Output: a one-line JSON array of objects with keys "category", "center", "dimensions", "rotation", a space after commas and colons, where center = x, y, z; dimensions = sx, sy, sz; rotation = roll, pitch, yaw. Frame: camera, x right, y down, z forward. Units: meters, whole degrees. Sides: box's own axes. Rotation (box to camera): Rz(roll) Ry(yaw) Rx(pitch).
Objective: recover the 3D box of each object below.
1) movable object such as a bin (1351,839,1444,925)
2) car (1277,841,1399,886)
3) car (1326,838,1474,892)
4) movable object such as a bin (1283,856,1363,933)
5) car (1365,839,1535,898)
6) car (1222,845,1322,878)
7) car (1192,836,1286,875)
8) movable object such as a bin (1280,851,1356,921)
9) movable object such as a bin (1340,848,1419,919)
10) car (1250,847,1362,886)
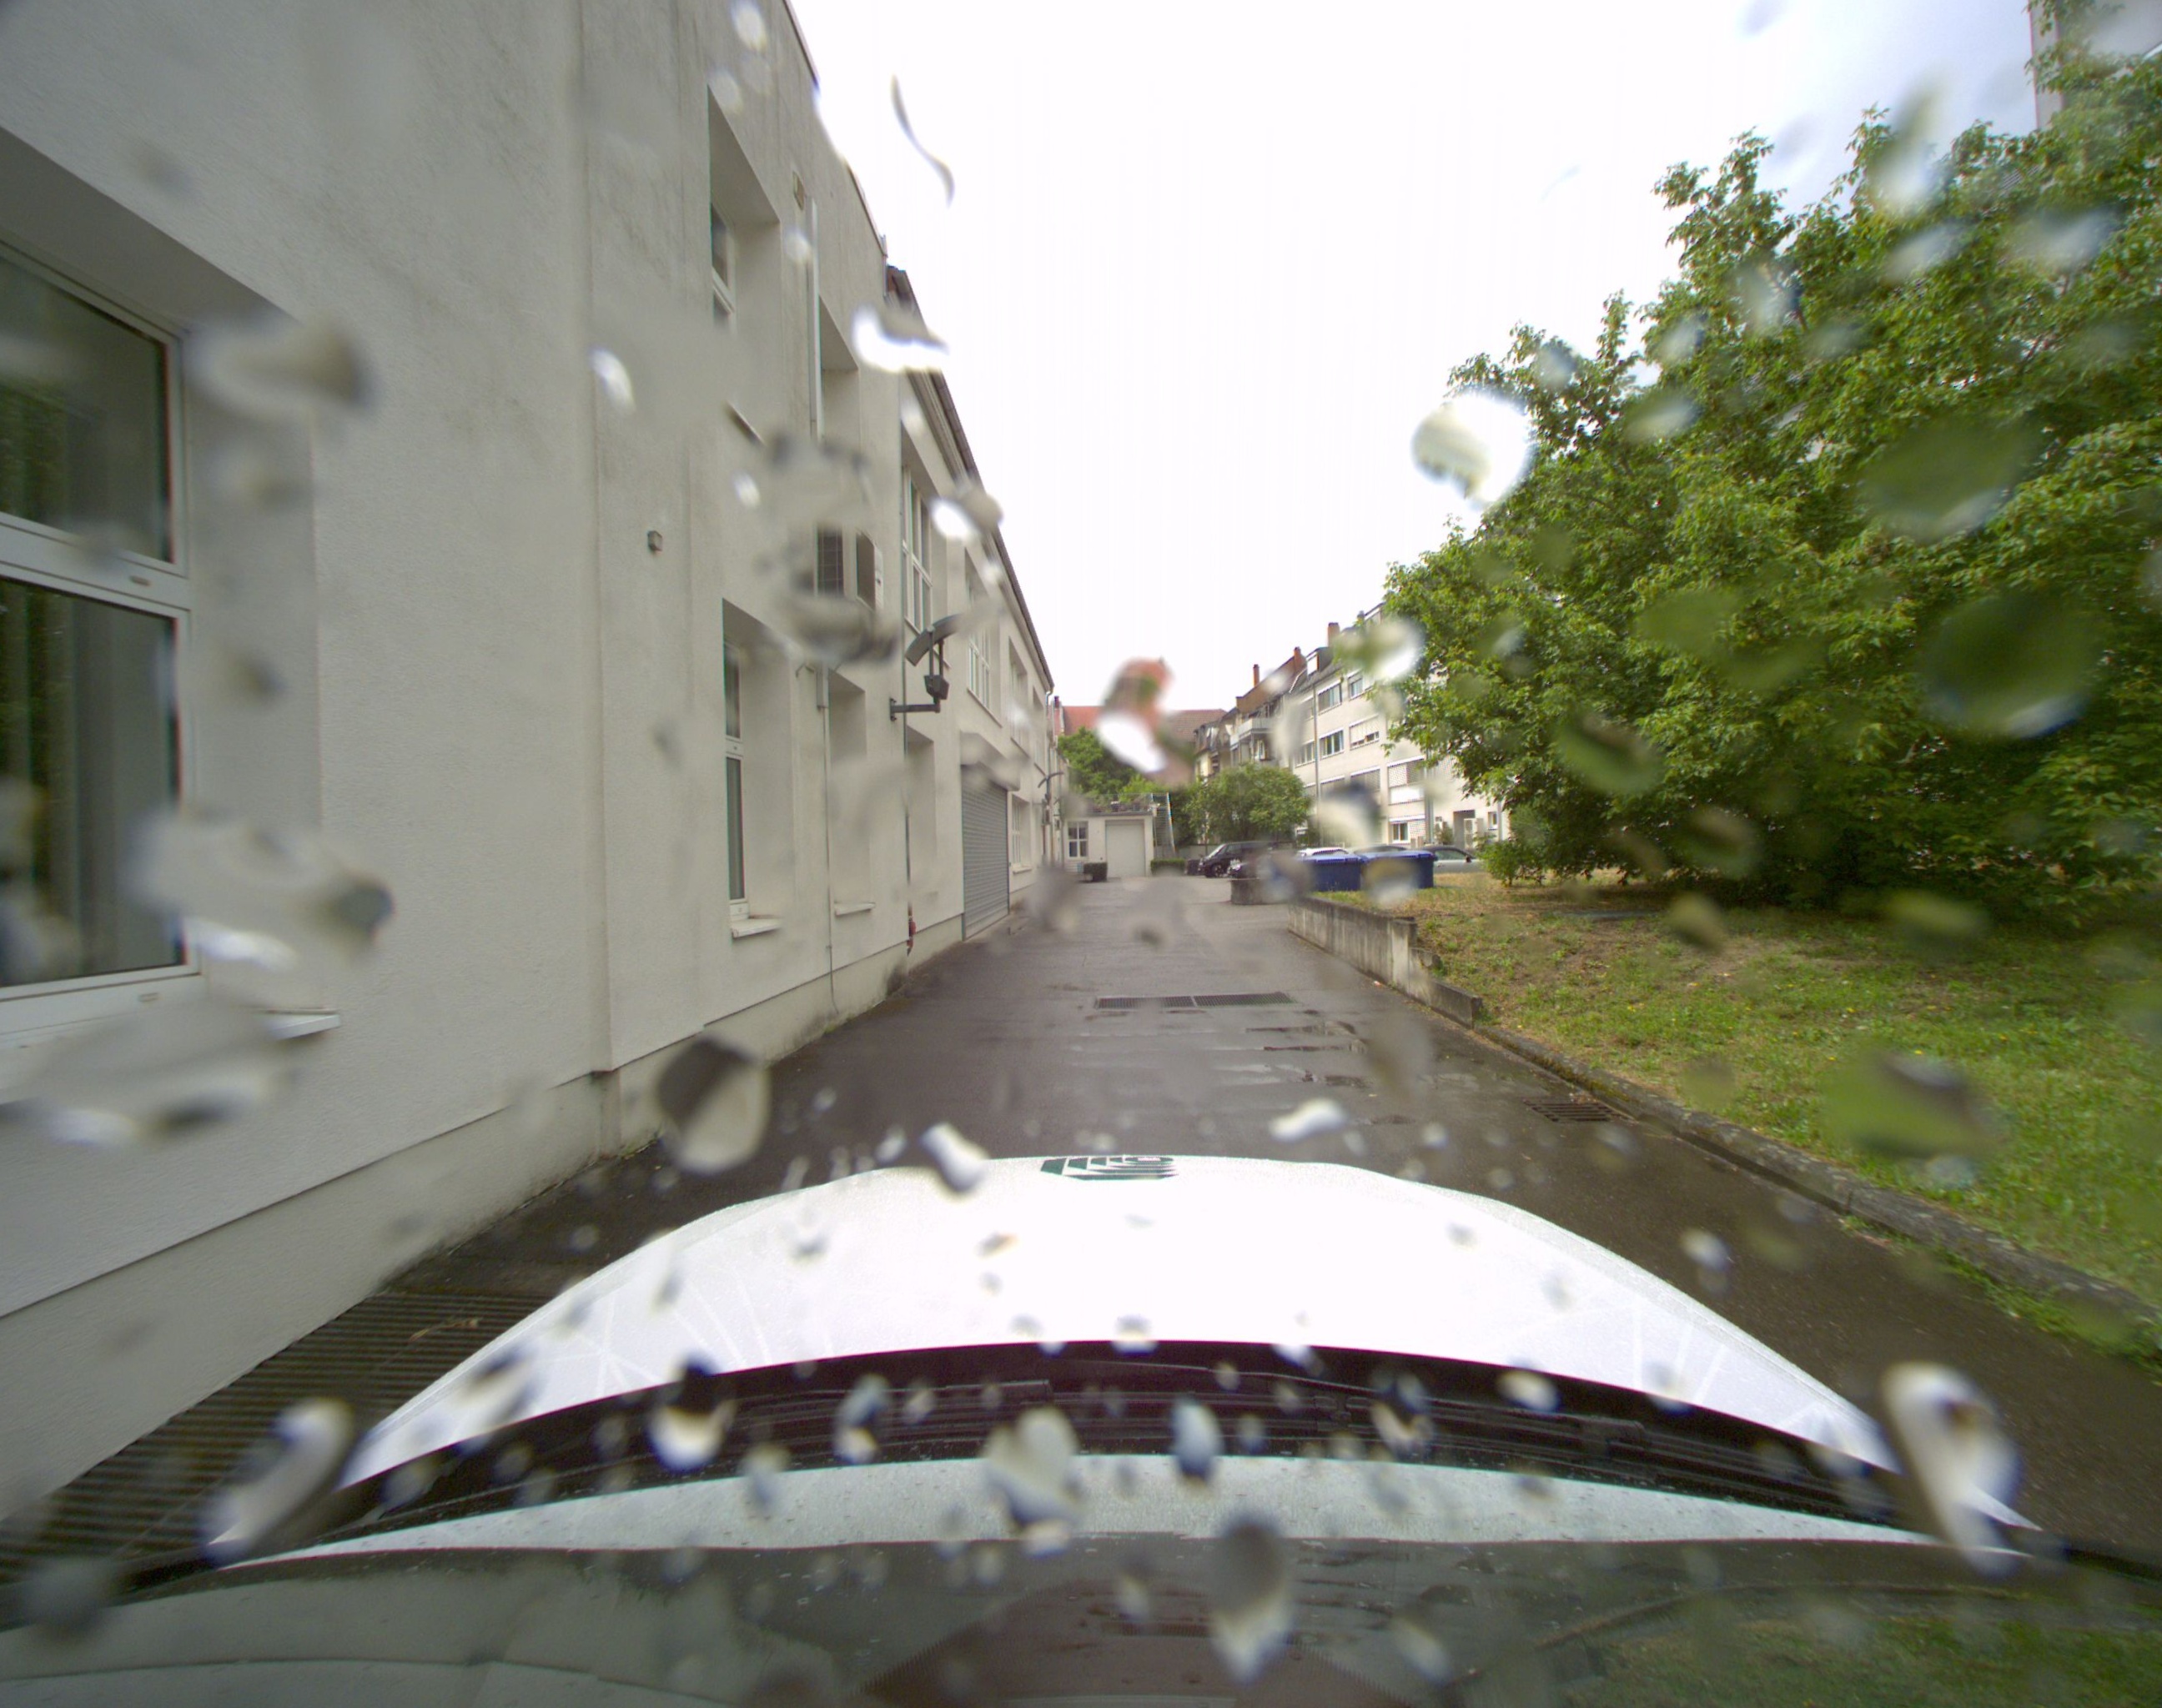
[{"category": "movable object such as a bin", "center": [5.728, 0.480, 14.810], "dimensions": [1.270, 1.483, 1.102], "rotation": [-1, 1, 1]}, {"category": "car", "center": [9.851, 0.344, 31.385], "dimensions": [4.088, 1.455, 1.831], "rotation": [-3, 0, -3]}, {"category": "car", "center": [10.220, 0.341, 26.263], "dimensions": [4.069, 1.458, 1.667], "rotation": [-3, -1, -2]}, {"category": "movable object such as a bin", "center": [4.393, 0.719, 14.883], "dimensions": [1.170, 1.317, 1.056], "rotation": [-1, 1, 1]}, {"category": "car", "center": [10.433, 0.389, 23.221], "dimensions": [3.973, 1.354, 1.791], "rotation": [-4, 0, 1]}, {"category": "car", "center": [9.221, 0.326, 39.461], "dimensions": [4.347, 1.348, 1.857], "rotation": [-3, 1, -5]}, {"category": "car", "center": [8.745, 0.077, 45.288], "dimensions": [4.702, 1.833, 2.107], "rotation": [-3, 1, -5]}, {"category": "movable object such as a bin", "center": [4.824, 0.635, 16.671], "dimensions": [1.225, 1.317, 1.056], "rotation": [-3, 1, 1]}, {"category": "movable object such as a bin", "center": [6.098, 0.586, 16.710], "dimensions": [1.225, 1.317, 1.056], "rotation": [-3, 1, 1]}, {"category": "car", "center": [9.572, 0.510, 34.876], "dimensions": [4.163, 1.401, 1.936], "rotation": [-3, 0, -5]}]
